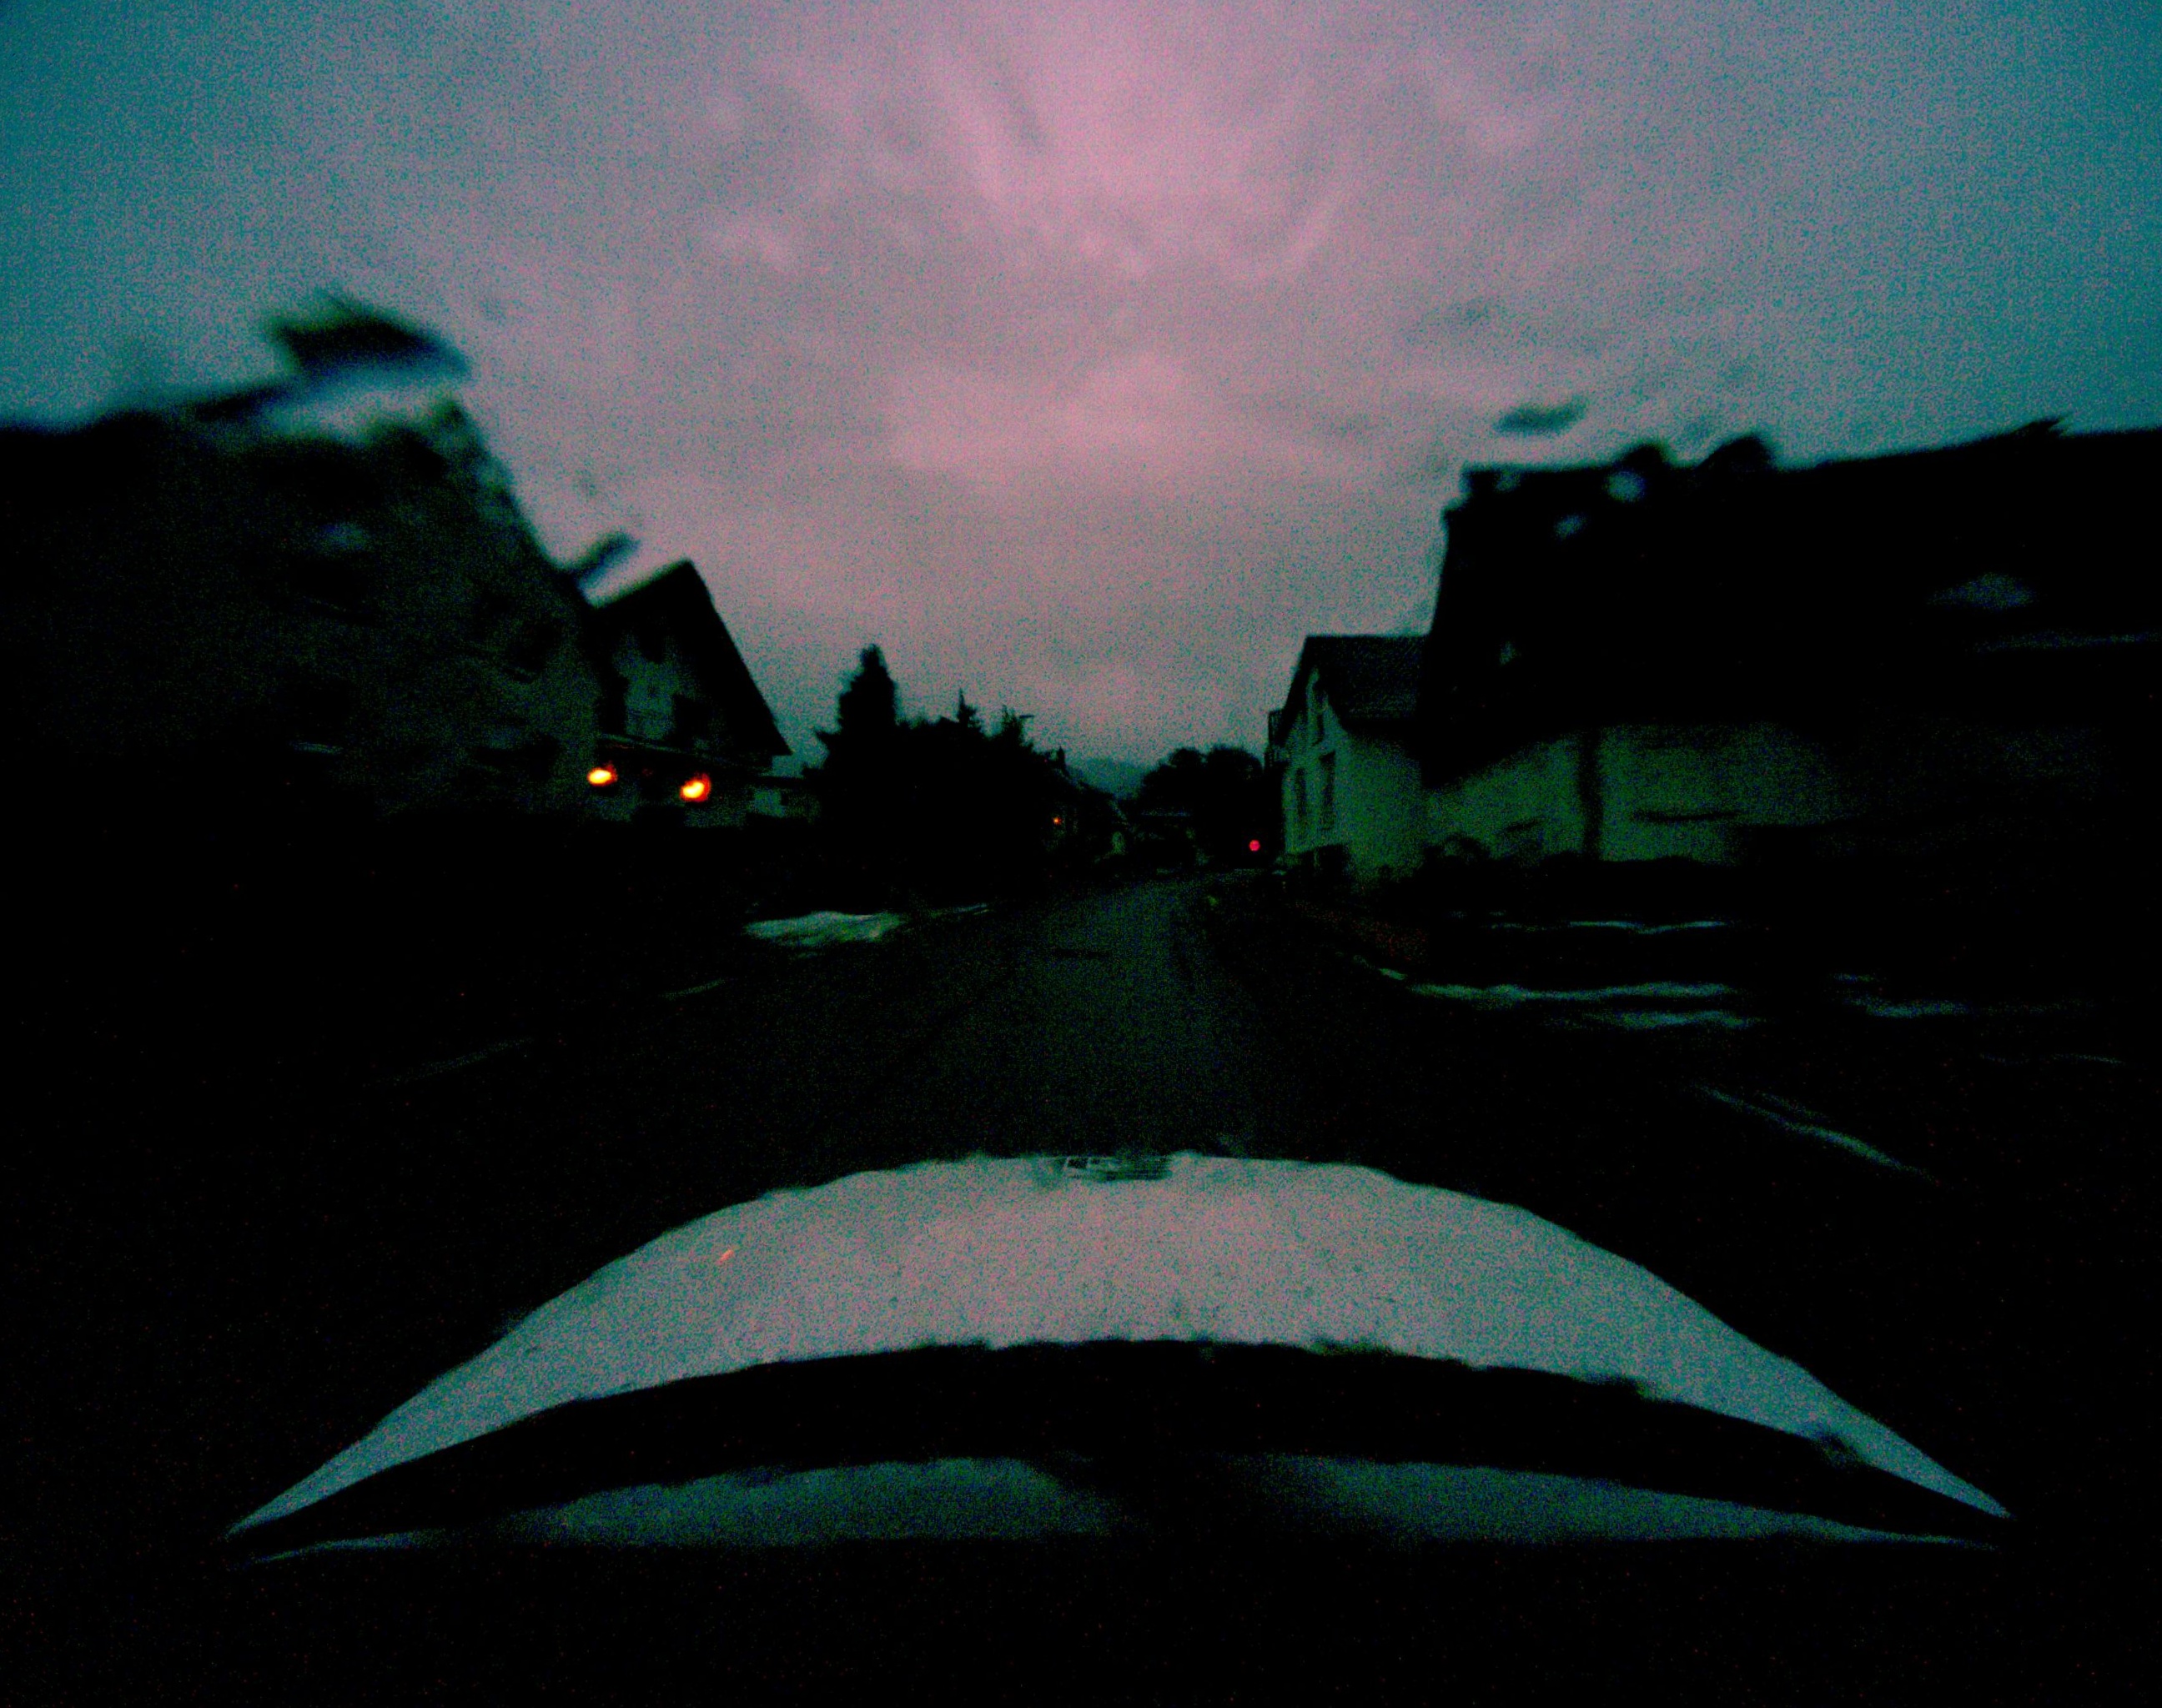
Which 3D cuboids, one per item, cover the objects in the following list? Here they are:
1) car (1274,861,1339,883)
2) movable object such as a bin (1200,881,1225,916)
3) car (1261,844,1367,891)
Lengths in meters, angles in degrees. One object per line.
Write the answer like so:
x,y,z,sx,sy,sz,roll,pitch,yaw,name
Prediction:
16.723,1.323,60.336,4.469,1.444,2.009,-2,-1,17,car
3.684,1.238,22.866,0.611,0.946,0.596,-4,-3,8,movable object such as a bin
10.419,0.604,36.739,4.256,1.457,1.783,-9,-2,8,car
